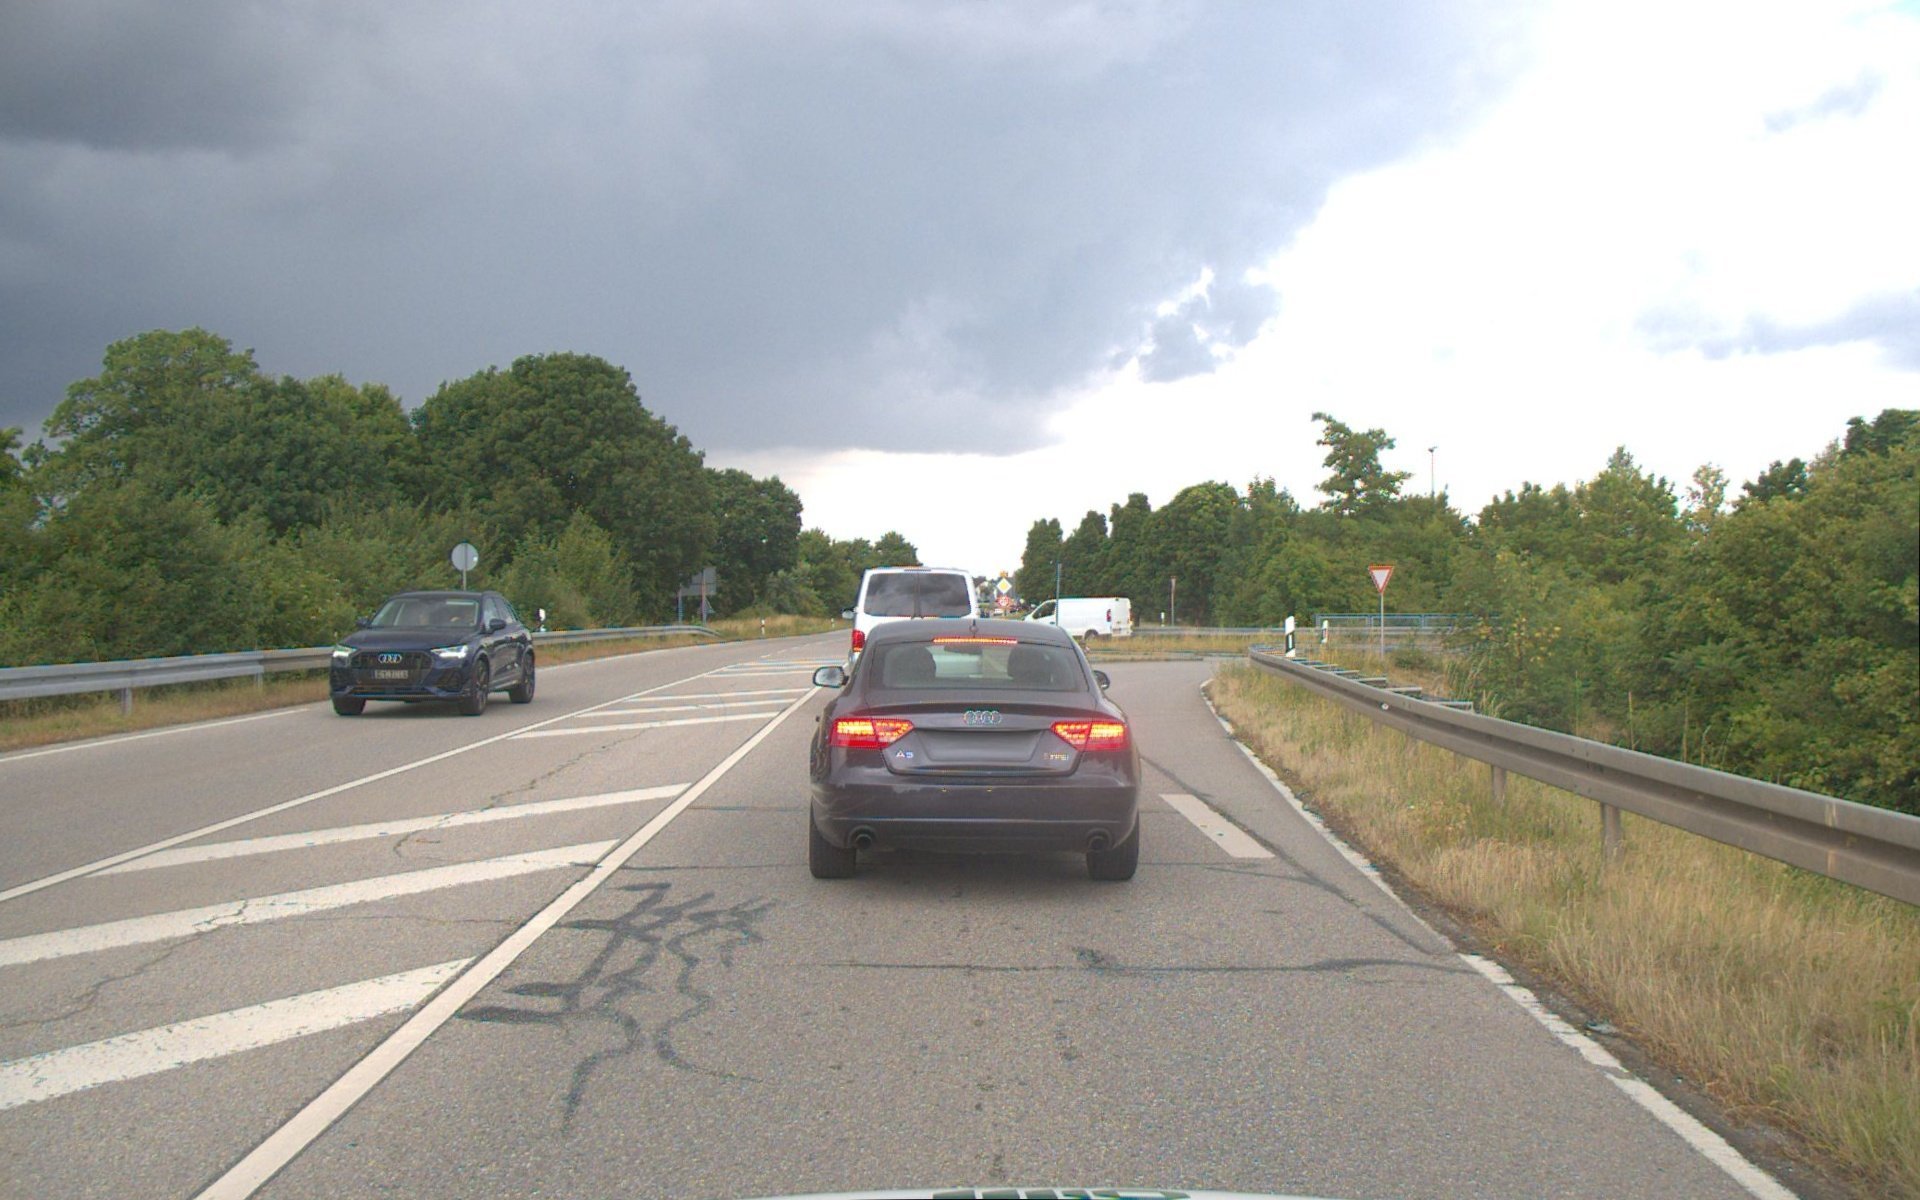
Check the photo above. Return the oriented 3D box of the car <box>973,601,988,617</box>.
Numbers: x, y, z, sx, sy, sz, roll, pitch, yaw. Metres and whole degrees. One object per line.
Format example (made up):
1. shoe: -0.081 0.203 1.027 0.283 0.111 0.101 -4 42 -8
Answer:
1. car: 2.747 1.224 222.330 1.952 2.049 4.000 1 0 0

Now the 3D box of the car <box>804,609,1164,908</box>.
1. car: 0.057 0.779 9.684 1.744 1.423 3.335 0 0 -2

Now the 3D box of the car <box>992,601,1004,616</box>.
1. car: 5.042 1.120 220.656 1.639 2.049 3.624 1 0 1

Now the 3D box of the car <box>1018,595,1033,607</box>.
1. car: 9.635 0.139 243.589 1.952 1.722 4.000 1 0 1

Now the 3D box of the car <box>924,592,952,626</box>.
1. car: -1.652 0.674 123.553 1.953 2.451 3.999 2 0 -1

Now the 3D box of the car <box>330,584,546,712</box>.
1. car: -6.930 0.577 22.392 1.675 1.545 4.208 1 0 -2

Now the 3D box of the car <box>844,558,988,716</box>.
1. car: -0.645 0.479 23.730 1.872 2.049 3.998 1 0 -2

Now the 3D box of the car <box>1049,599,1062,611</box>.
1. car: 13.666 0.673 236.677 1.836 1.722 4.002 1 0 4

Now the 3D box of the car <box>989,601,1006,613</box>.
1. car: 5.535 1.022 244.354 2.161 1.610 4.377 1 0 -2

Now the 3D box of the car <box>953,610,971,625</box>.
1. car: 0.244 1.800 170.853 1.490 1.423 3.185 0 -2 7

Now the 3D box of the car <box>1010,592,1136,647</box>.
1. car: 4.591 0.780 67.432 4.778 2.101 2.080 1 0 36
